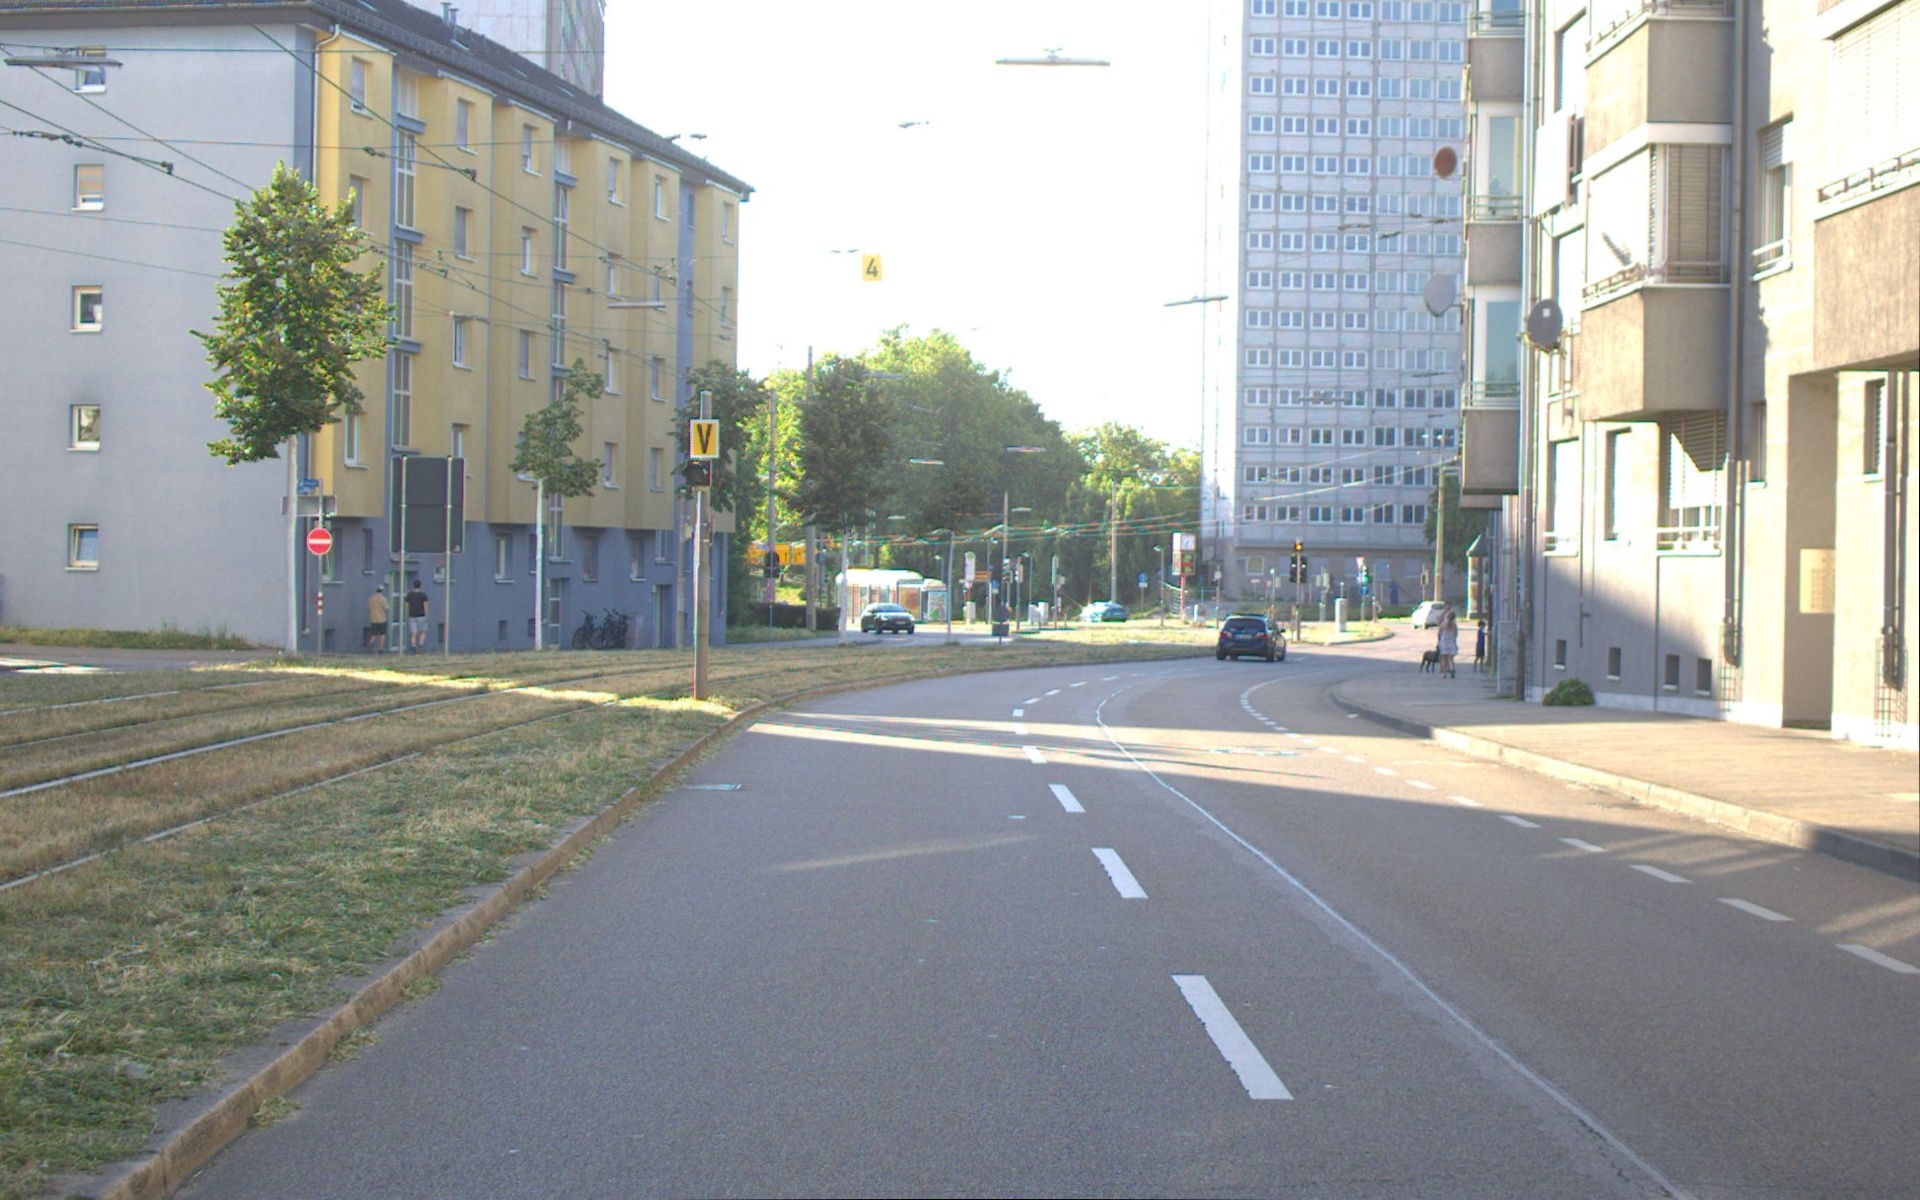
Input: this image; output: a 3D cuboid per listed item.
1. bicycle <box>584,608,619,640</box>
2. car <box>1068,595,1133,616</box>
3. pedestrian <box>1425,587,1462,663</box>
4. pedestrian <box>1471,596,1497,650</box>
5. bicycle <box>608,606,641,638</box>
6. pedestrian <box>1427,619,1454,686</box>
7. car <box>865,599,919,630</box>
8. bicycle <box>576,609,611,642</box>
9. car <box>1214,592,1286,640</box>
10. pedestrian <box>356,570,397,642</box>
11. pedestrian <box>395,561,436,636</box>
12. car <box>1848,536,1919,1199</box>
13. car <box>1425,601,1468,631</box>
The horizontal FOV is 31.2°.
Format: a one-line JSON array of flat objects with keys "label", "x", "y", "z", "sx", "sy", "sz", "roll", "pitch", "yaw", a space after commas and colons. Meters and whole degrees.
[{"label": "bicycle", "x": -10.623, "y": 0.705, "z": 101.800, "sx": 0.427, "sy": 0.922, "sz": 1.911, "roll": 4, "pitch": 1, "yaw": 11}, {"label": "car", "x": 9.122, "y": 0.353, "z": 223.177, "sx": 3.869, "sy": 1.284, "sz": 1.858, "roll": 0, "pitch": 1, "yaw": -15}, {"label": "pedestrian", "x": 11.461, "y": 0.587, "z": 81.444, "sx": 0.830, "sy": 1.766, "sz": 0.995, "roll": 0, "pitch": 0, "yaw": 10}, {"label": "pedestrian", "x": 12.337, "y": 0.538, "z": 80.884, "sx": 0.587, "sy": 1.247, "sz": 0.584, "roll": 0, "pitch": 0, "yaw": 10}, {"label": "bicycle", "x": -10.170, "y": 0.650, "z": 104.250, "sx": 0.427, "sy": 0.956, "sz": 1.911, "roll": 0, "pitch": 0, "yaw": 11}, {"label": "pedestrian", "x": 9.665, "y": 1.052, "z": 69.123, "sx": 0.514, "sy": 1.340, "sz": 0.609, "roll": 0, "pitch": -1, "yaw": 6}, {"label": "car", "x": -3.305, "y": 0.719, "z": 167.547, "sx": 1.794, "sy": 1.464, "sz": 4.794, "roll": -1, "pitch": -1, "yaw": 9}, {"label": "bicycle", "x": -10.715, "y": 0.727, "z": 100.523, "sx": 0.427, "sy": 0.922, "sz": 1.911, "roll": 4, "pitch": 1, "yaw": 11}, {"label": "car", "x": 8.999, "y": 0.475, "z": 106.555, "sx": 1.773, "sy": 1.417, "sz": 3.854, "roll": 0, "pitch": 0, "yaw": 12}, {"label": "pedestrian", "x": -14.029, "y": 0.144, "z": 82.672, "sx": 0.616, "sy": 1.689, "sz": 0.706, "roll": 5, "pitch": 1, "yaw": 10}, {"label": "pedestrian", "x": -13.120, "y": -0.040, "z": 82.849, "sx": 0.593, "sy": 1.767, "sz": 0.885, "roll": 5, "pitch": 1, "yaw": 10}, {"label": "car", "x": 2.345, "y": 0.732, "z": 3.453, "sx": 1.766, "sy": 1.582, "sz": 4.068, "roll": 0, "pitch": 1, "yaw": -1}, {"label": "car", "x": 25.833, "y": 0.861, "z": 182.614, "sx": 1.994, "sy": 1.525, "sz": 3.998, "roll": 0, "pitch": 0, "yaw": 12}]
